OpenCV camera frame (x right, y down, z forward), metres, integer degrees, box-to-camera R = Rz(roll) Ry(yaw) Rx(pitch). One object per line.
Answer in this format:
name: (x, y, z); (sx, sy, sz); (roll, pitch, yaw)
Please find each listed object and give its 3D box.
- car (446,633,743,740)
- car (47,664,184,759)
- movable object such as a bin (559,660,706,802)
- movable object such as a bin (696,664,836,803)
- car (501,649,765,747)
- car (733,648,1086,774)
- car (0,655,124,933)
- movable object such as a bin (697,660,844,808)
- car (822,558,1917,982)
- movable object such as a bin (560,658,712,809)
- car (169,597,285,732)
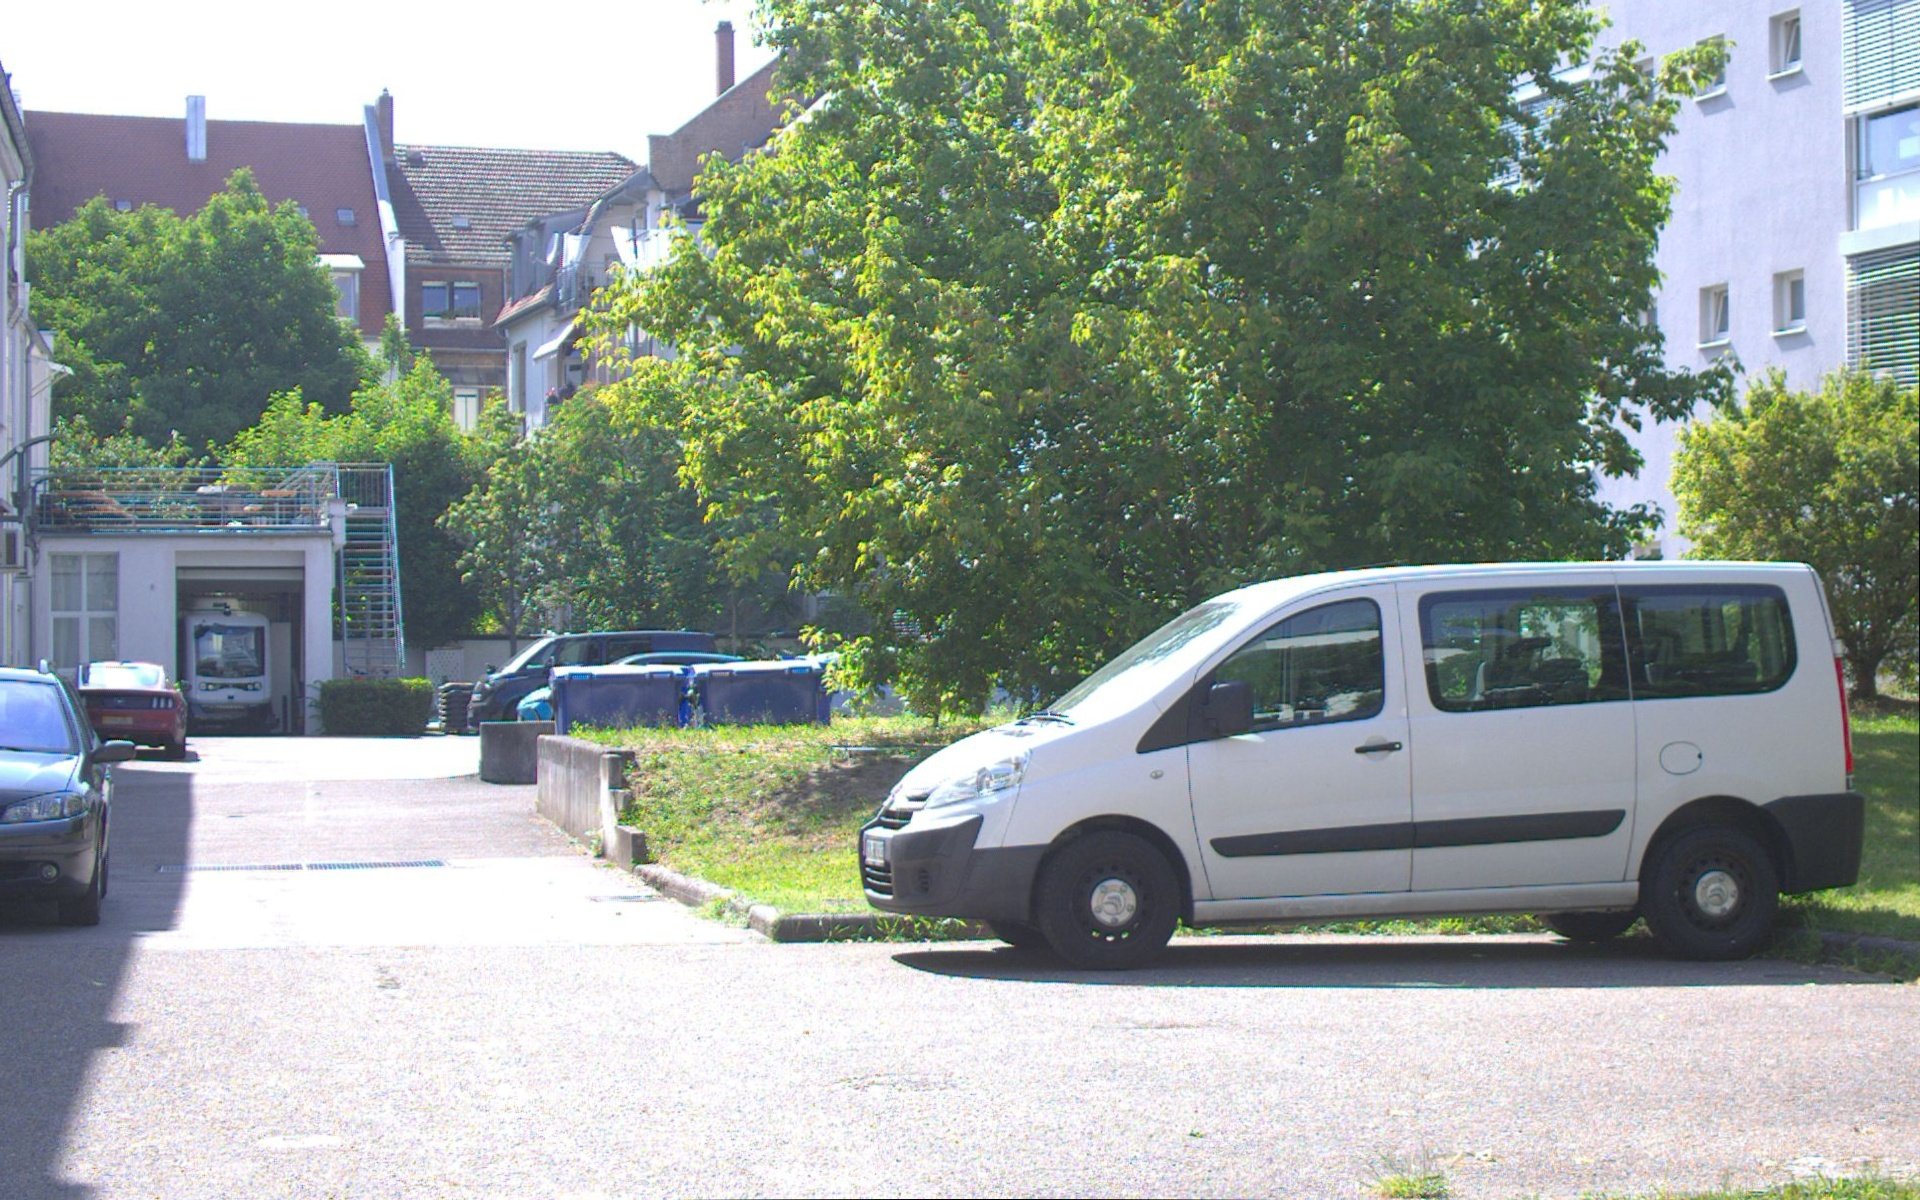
car: (-6.649, 1.552, 62.572); (4.951, 1.761, 2.097); (-1, 0, -25)
car: (-12.465, 1.624, 50.851); (1.851, 1.315, 4.001); (1, -1, -13)
movable object such as a bin: (-3.225, 1.274, 33.796); (1.247, 1.351, 1.129); (-1, -1, -15)
movable object such as a bin: (-1.932, 1.306, 34.107); (1.155, 1.332, 1.142); (-1, -1, -15)
car: (-5.670, 1.671, 59.452); (4.228, 1.527, 2.001); (-1, 0, -15)
car: (-0.635, 1.335, 42.140); (3.986, 1.422, 1.812); (-1, -1, -15)
car: (-5.823, 1.088, 19.861); (1.836, 1.437, 4.430); (1, -3, -13)
movable object such as a bin: (-1.791, 1.247, 32.352); (1.247, 1.336, 1.142); (-1, -1, -9)
car: (1.954, 0.780, 17.092); (5.022, 1.926, 2.000); (0, -1, -11)
movable object such as a bin: (-3.015, 1.238, 31.894); (1.247, 1.315, 1.142); (-2, -2, -10)
car: (-15.049, 1.344, 70.582); (2.173, 2.598, 6.735); (-1, -1, -12)
